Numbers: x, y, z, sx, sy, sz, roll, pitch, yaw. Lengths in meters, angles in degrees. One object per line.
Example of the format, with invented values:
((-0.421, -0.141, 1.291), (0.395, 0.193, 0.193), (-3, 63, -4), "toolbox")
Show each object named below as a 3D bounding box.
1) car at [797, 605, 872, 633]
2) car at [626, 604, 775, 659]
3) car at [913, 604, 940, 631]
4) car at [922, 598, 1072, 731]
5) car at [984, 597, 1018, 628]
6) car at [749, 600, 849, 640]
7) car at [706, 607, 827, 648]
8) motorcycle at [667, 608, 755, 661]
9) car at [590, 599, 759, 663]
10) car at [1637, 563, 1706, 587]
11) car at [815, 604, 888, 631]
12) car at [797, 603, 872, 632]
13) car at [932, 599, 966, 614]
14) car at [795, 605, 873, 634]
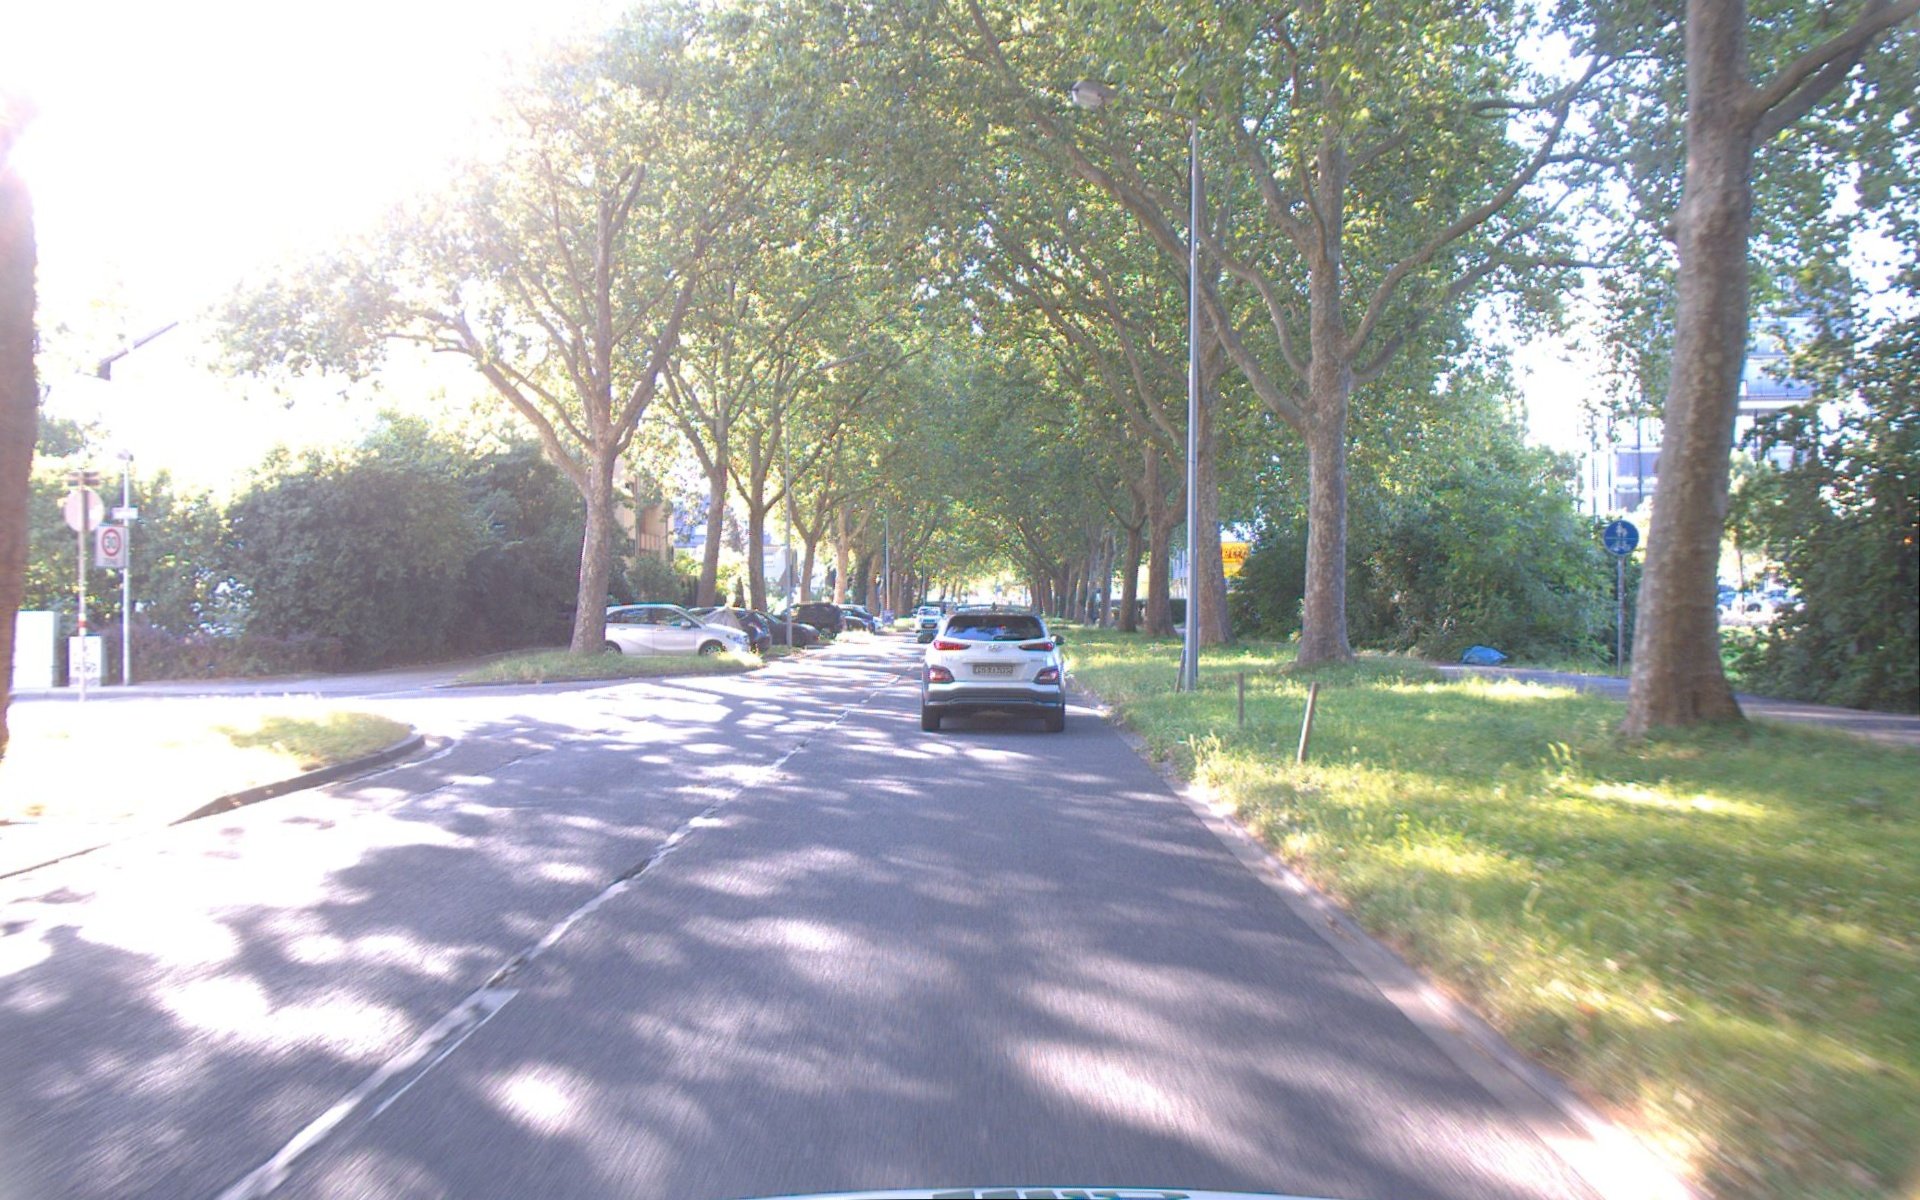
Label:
((-6.623, 0.996, 87.422), (3.907, 1.449, 1.808), (0, 0, -3), "car")
((-7.475, 0.901, 48.005), (4.077, 1.532, 1.801), (-1, 0, -3), "car")
((-1.883, 0.982, 93.808), (1.504, 1.484, 3.184), (0, 0, -1), "car")
((0.411, 0.791, 21.795), (1.798, 1.583, 3.999), (0, -1, -1), "car")
((2.309, 0.701, 94.372), (1.643, 1.725, 3.742), (0, 0, -3), "car")
((-6.956, 0.864, 71.805), (4.156, 1.709, 1.671), (0, 0, 1), "car")
((-6.953, 0.981, 59.707), (4.154, 1.376, 1.741), (-1, -1, -1), "car")
((-6.836, 0.948, 45.458), (2.338, 1.412, 0.648), (-1, 0, -5), "motorcycle")
((-7.362, 0.794, 42.964), (4.100, 1.612, 1.999), (0, 0, -4), "car")
((48.618, -1.683, 113.057), (3.905, 1.594, 1.863), (0, 0, -1), "car")
((-6.093, 0.985, 92.923), (3.904, 1.496, 1.810), (0, 0, 2), "car")
((-6.842, 0.952, 90.486), (3.905, 1.546, 1.809), (0, 0, 0), "car")
((-1.337, 0.751, 199.683), (3.908, 1.803, 1.998), (0, -1, -4), "car")
((-6.473, 1.003, 85.286), (3.905, 1.496, 1.780), (0, 0, 0), "car")
